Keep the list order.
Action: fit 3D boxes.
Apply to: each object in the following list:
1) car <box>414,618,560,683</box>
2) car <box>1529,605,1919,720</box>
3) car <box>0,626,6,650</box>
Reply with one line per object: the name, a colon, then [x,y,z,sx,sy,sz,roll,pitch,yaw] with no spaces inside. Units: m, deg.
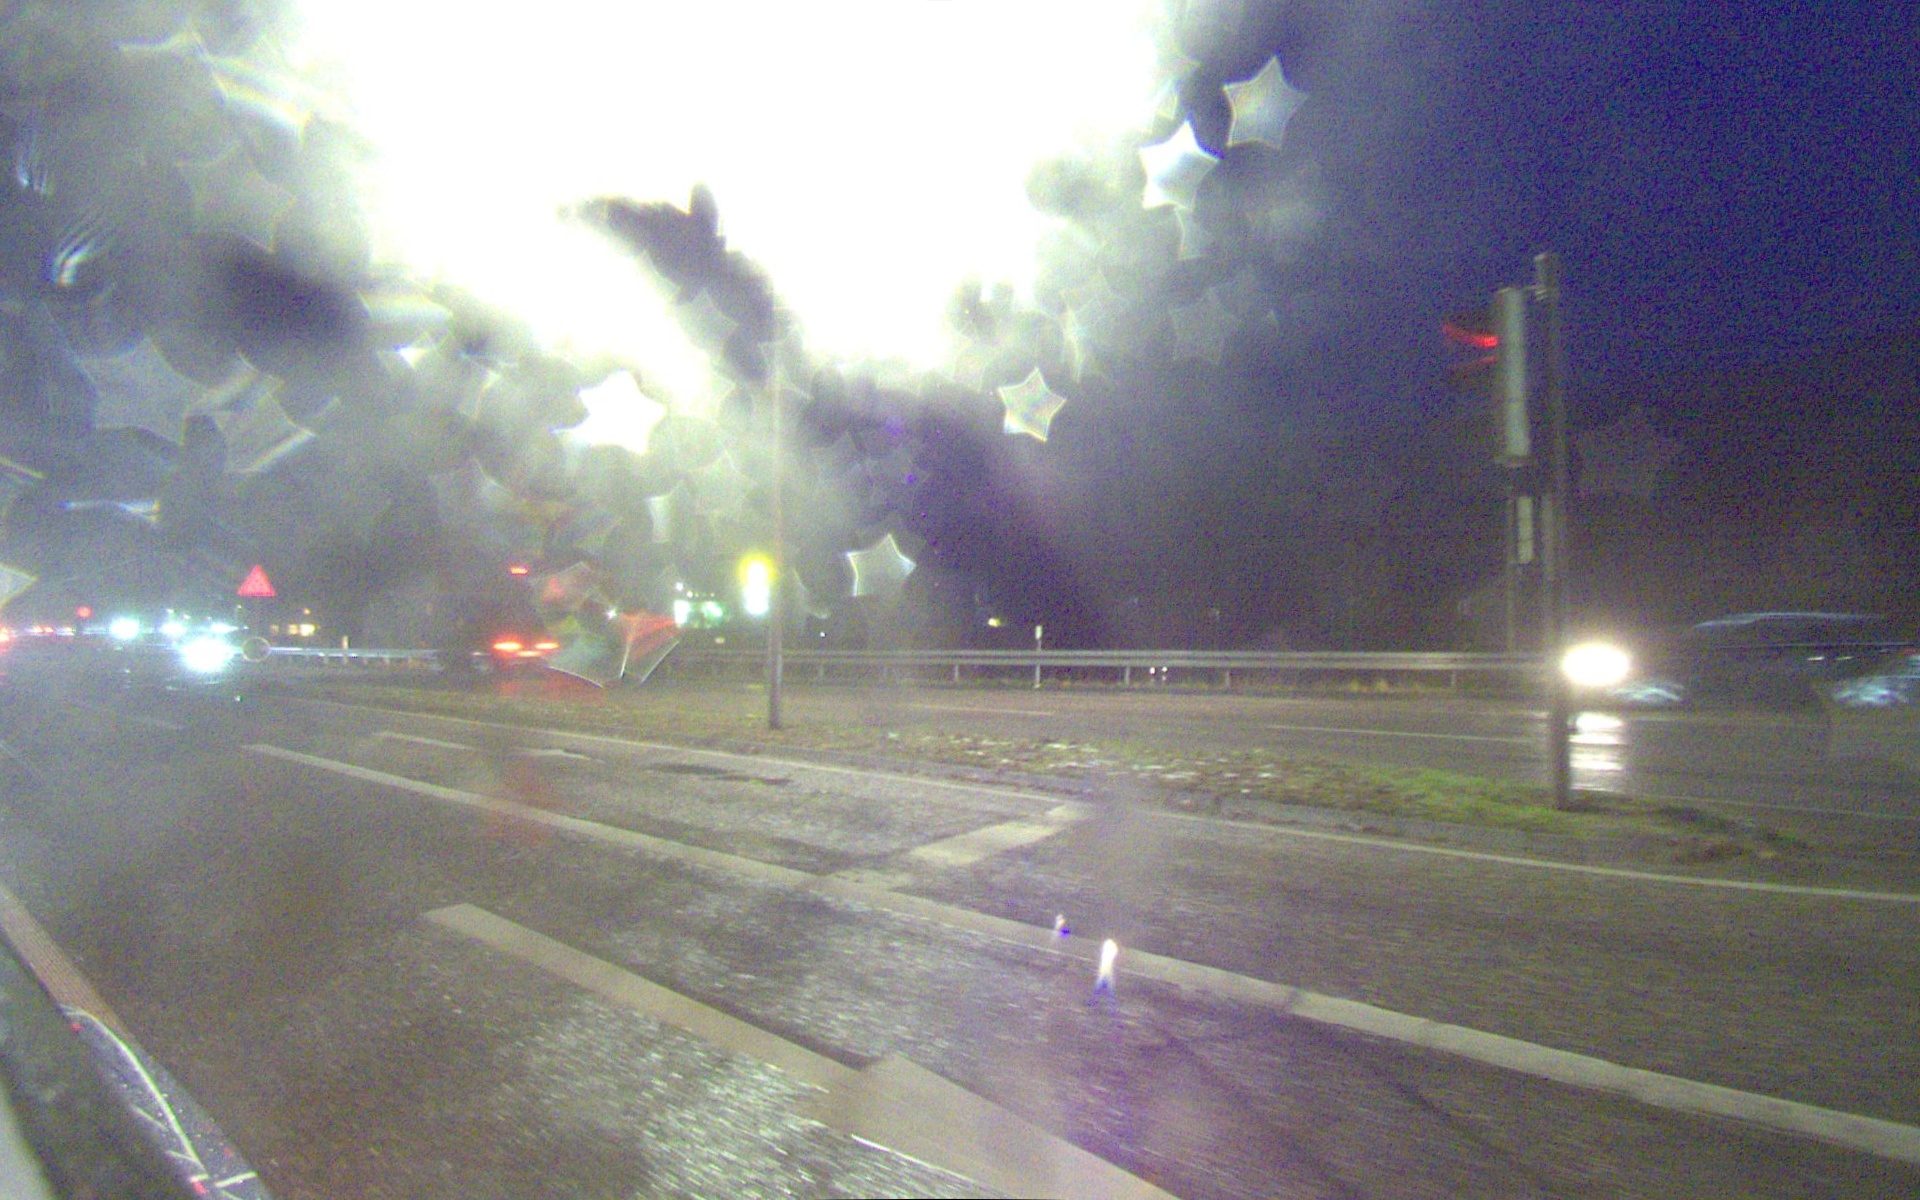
car: [-13.431,1.367,28.642,4.495,1.665,1.693,0,0,34]
car: [11.163,0.829,14.570,4.840,1.515,1.746,0,0,11]
car: [-73.824,2.873,76.661,4.580,1.713,2.065,0,0,44]
